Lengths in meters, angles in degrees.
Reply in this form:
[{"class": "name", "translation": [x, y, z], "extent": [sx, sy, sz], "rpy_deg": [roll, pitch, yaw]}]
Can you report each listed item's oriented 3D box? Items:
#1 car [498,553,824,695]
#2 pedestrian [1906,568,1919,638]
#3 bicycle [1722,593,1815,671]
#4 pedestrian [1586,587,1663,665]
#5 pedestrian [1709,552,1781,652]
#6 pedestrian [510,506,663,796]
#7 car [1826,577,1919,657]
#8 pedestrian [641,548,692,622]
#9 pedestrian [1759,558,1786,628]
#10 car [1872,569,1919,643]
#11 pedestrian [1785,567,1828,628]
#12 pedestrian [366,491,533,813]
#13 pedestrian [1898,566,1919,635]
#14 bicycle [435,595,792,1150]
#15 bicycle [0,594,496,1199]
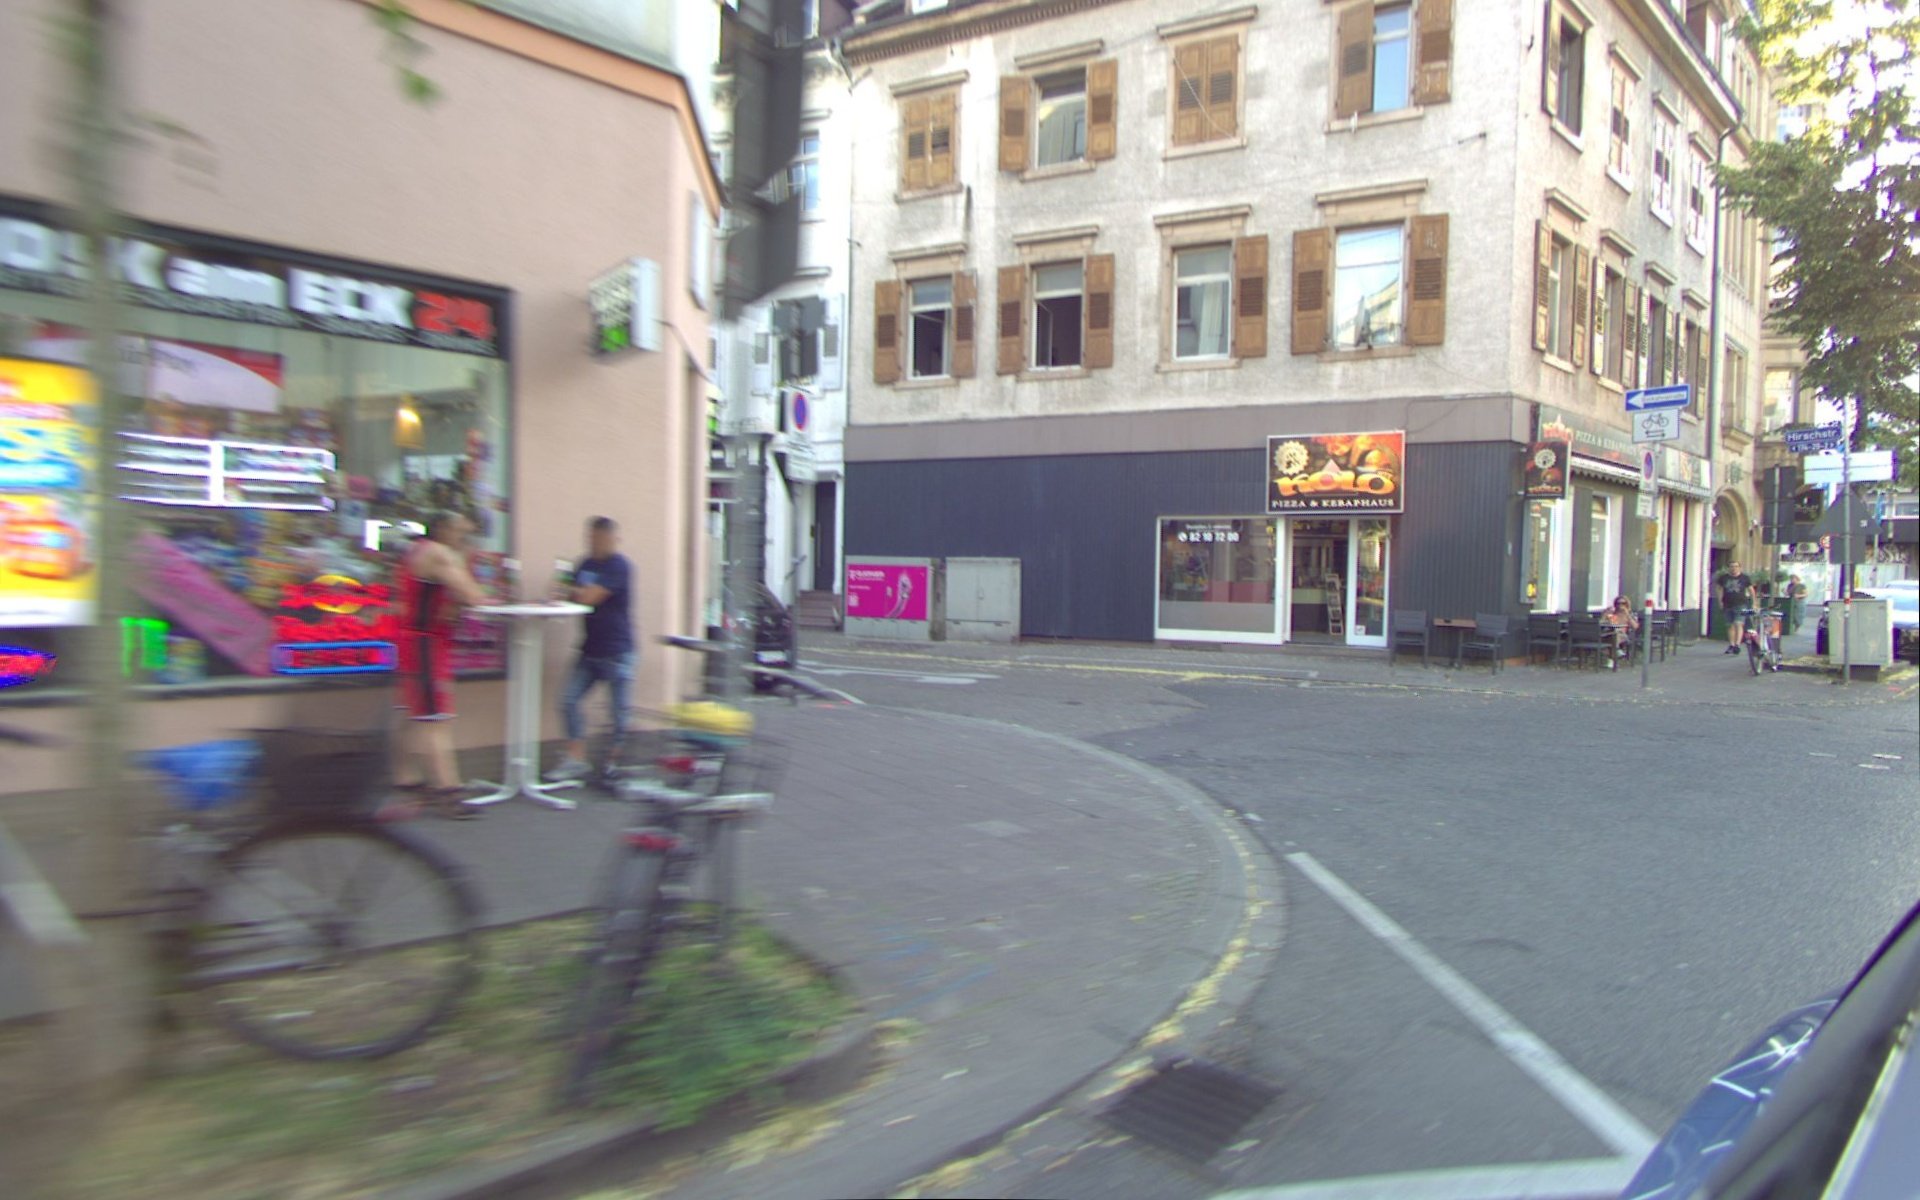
[{"class": "car", "translation": [-3.715, 0.236, 12.585], "extent": [3.639, 1.507, 1.773], "rpy_deg": [2, 0, 26]}, {"class": "pedestrian", "translation": [24.553, 0.087, 25.588], "extent": [0.675, 1.726, 0.815], "rpy_deg": [5, 4, 35]}, {"class": "bicycle", "translation": [13.011, 0.479, 16.268], "extent": [1.866, 1.125, 0.780], "rpy_deg": [-1, 4, -41]}, {"class": "pedestrian", "translation": [10.990, 0.402, 16.727], "extent": [1.337, 1.155, 0.683], "rpy_deg": [-2, 5, -41]}, {"class": "pedestrian", "translation": [15.616, 0.019, 20.138], "extent": [1.078, 1.876, 0.824], "rpy_deg": [0, 5, -42]}, {"class": "pedestrian", "translation": [-2.218, 0.270, 6.003], "extent": [0.652, 1.603, 0.568], "rpy_deg": [1, 2, -40]}, {"class": "car", "translation": [19.055, 0.301, 20.340], "extent": [4.445, 1.391, 1.789], "rpy_deg": [-1, 5, -41]}, {"class": "pedestrian", "translation": [-6.506, -0.344, 22.420], "extent": [0.825, 1.591, 0.800], "rpy_deg": [0, 2, -38]}, {"class": "pedestrian", "translation": [22.326, -0.197, 27.825], "extent": [0.458, 1.898, 0.495], "rpy_deg": [3, 2, 35]}, {"class": "car", "translation": [22.664, 0.150, 23.432], "extent": [3.942, 1.593, 1.691], "rpy_deg": [0, 5, -41]}, {"class": "pedestrian", "translation": [22.842, -0.066, 27.308], "extent": [0.689, 1.580, 0.660], "rpy_deg": [0, 4, -40]}, {"class": "pedestrian", "translation": [-2.778, 0.247, 5.502], "extent": [0.652, 1.619, 0.568], "rpy_deg": [1, 2, -40]}, {"class": "pedestrian", "translation": [24.903, 0.022, 26.102], "extent": [0.642, 1.720, 0.667], "rpy_deg": [3, 3, 6]}, {"class": "bicycle", "translation": [-0.884, 0.563, 3.100], "extent": [0.691, 1.087, 1.964], "rpy_deg": [1, 2, -9]}, {"class": "bicycle", "translation": [-2.063, 0.592, 2.274], "extent": [1.807, 1.192, 0.601], "rpy_deg": [0, 1, -21]}]
